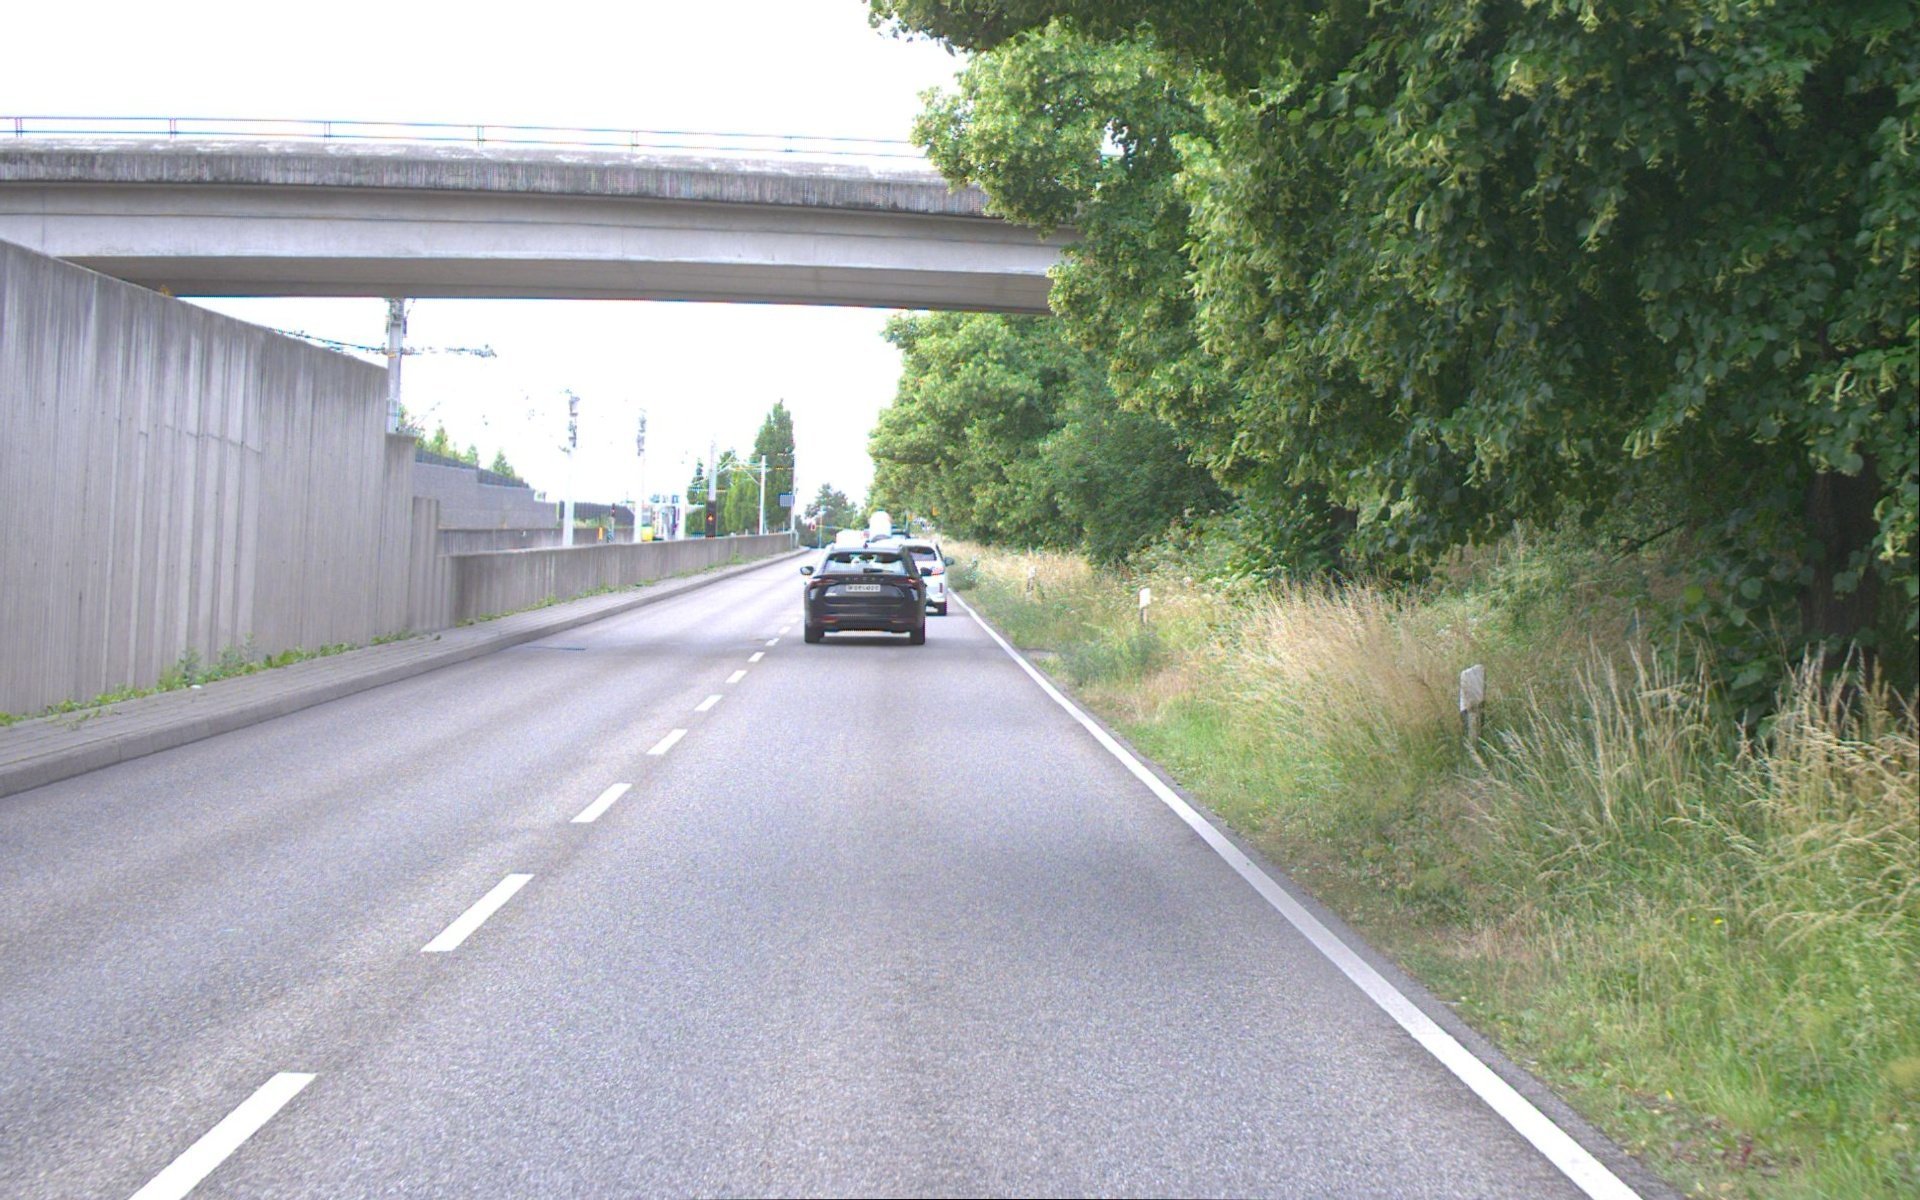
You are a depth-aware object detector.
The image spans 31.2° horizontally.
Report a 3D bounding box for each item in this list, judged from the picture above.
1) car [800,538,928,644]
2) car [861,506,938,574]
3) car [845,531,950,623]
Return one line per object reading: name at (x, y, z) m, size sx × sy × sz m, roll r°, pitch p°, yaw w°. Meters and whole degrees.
car at (-1.395, -0.154, 50.538) m, size 1.781 × 1.463 × 4.000 m, roll 1°, pitch 1°, yaw -1°
car at (-1.627, -1.603, 92.369) m, size 1.993 × 1.734 × 4.000 m, roll 1°, pitch 0°, yaw -1°
car at (-1.236, -0.471, 67.988) m, size 1.993 × 1.747 × 4.000 m, roll 1°, pitch 1°, yaw -1°
